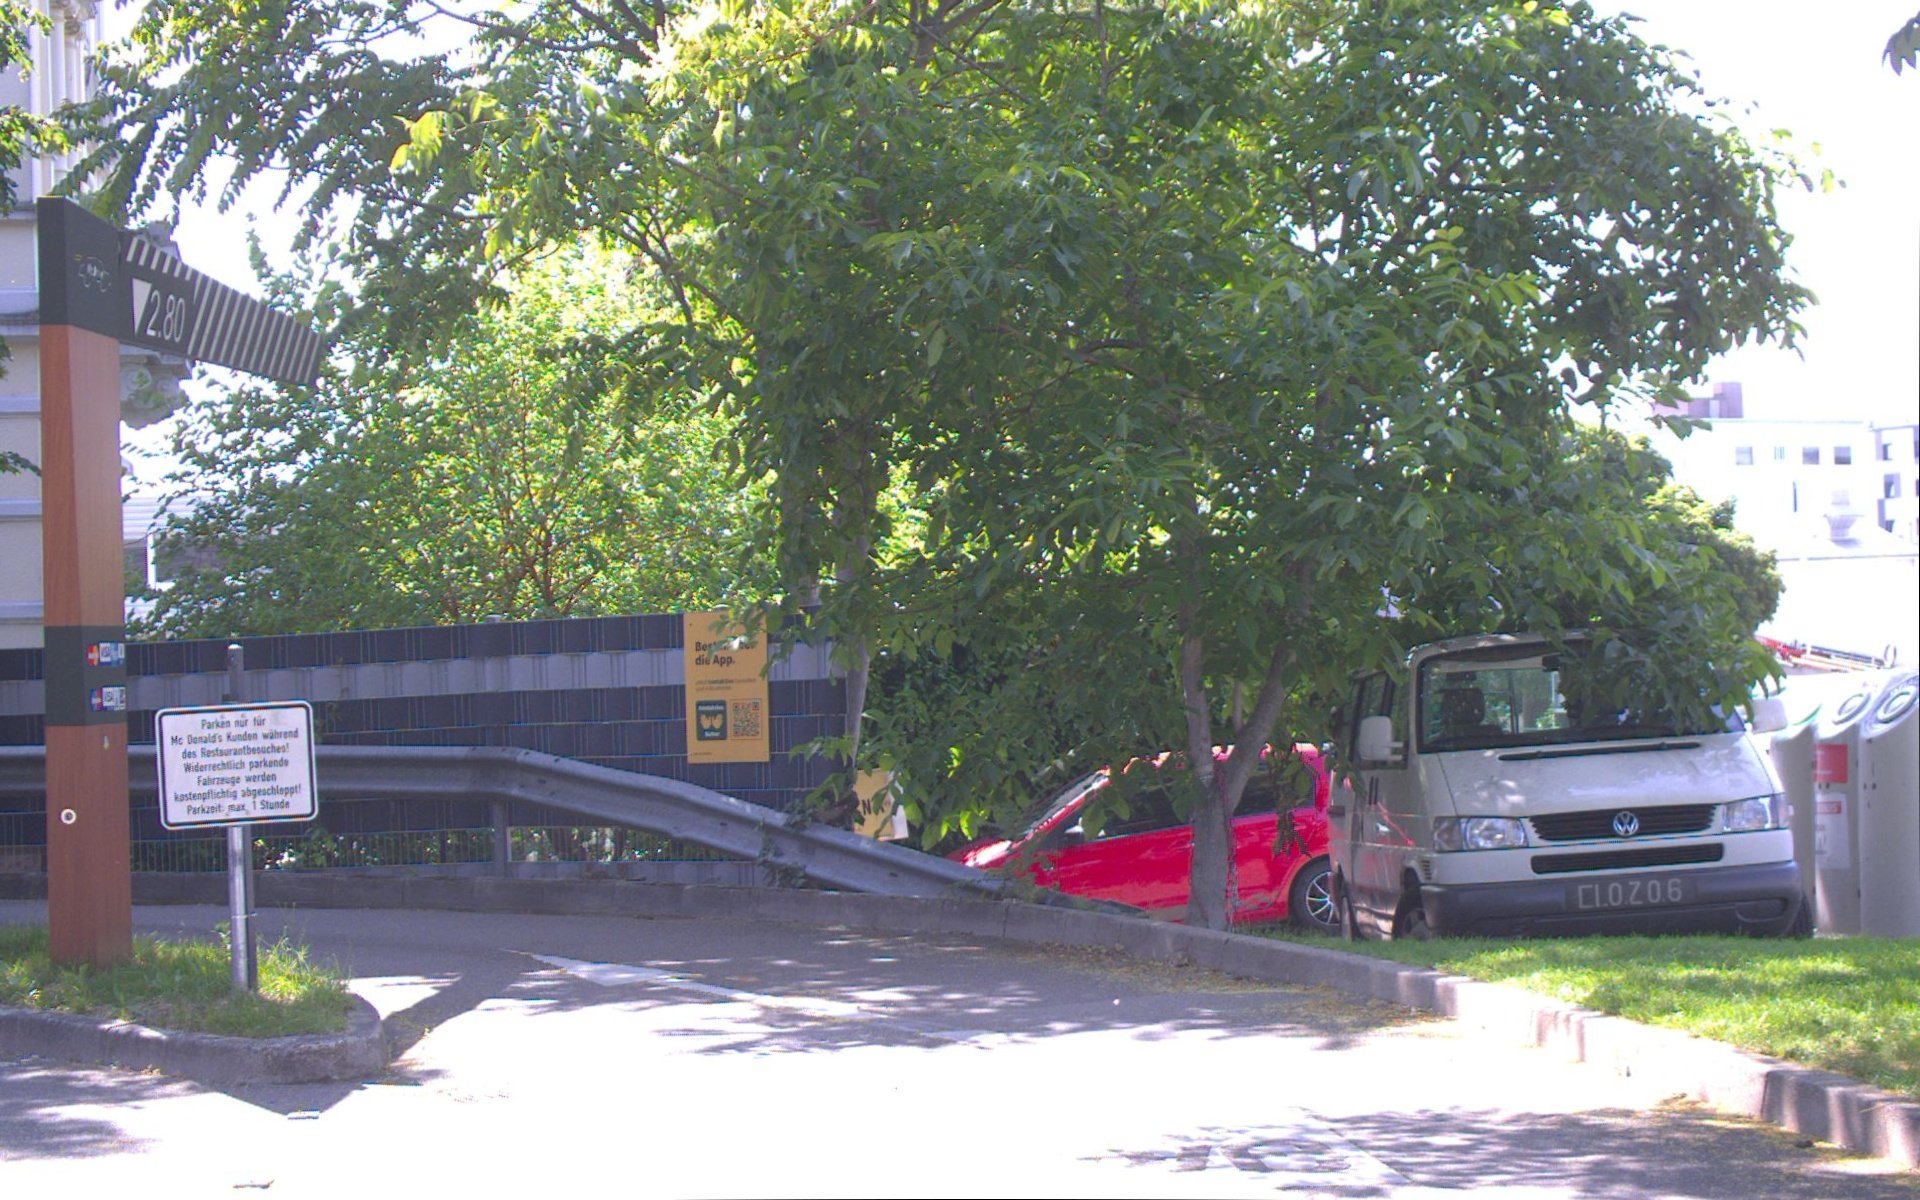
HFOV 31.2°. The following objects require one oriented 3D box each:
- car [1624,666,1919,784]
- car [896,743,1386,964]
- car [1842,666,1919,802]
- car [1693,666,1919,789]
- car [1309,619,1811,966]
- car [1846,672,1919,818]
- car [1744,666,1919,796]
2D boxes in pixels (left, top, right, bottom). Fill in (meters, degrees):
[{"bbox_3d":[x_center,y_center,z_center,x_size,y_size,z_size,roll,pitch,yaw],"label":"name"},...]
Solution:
[{"bbox_3d":[12.657,1.885,52.196,4.637,1.720,2.000,0,-2,-16],"label":"car"},{"bbox_3d":[1.316,1.865,25.701,3.403,1.374,1.487,-2,1,-7],"label":"car"},{"bbox_3d":[13.818,1.727,44.870,3.986,1.720,2.000,0,-2,-16],"label":"car"},{"bbox_3d":[13.208,1.832,49.832,4.637,1.720,2.000,0,-2,-16],"label":"car"},{"bbox_3d":[3.015,0.902,18.343,1.952,1.578,5.031,-1,0,2],"label":"car"},{"bbox_3d":[13.040,1.715,41.628,3.986,1.700,2.000,0,-1,-9],"label":"car"},{"bbox_3d":[13.339,1.776,47.148,4.637,1.720,2.000,0,-2,-16],"label":"car"}]
